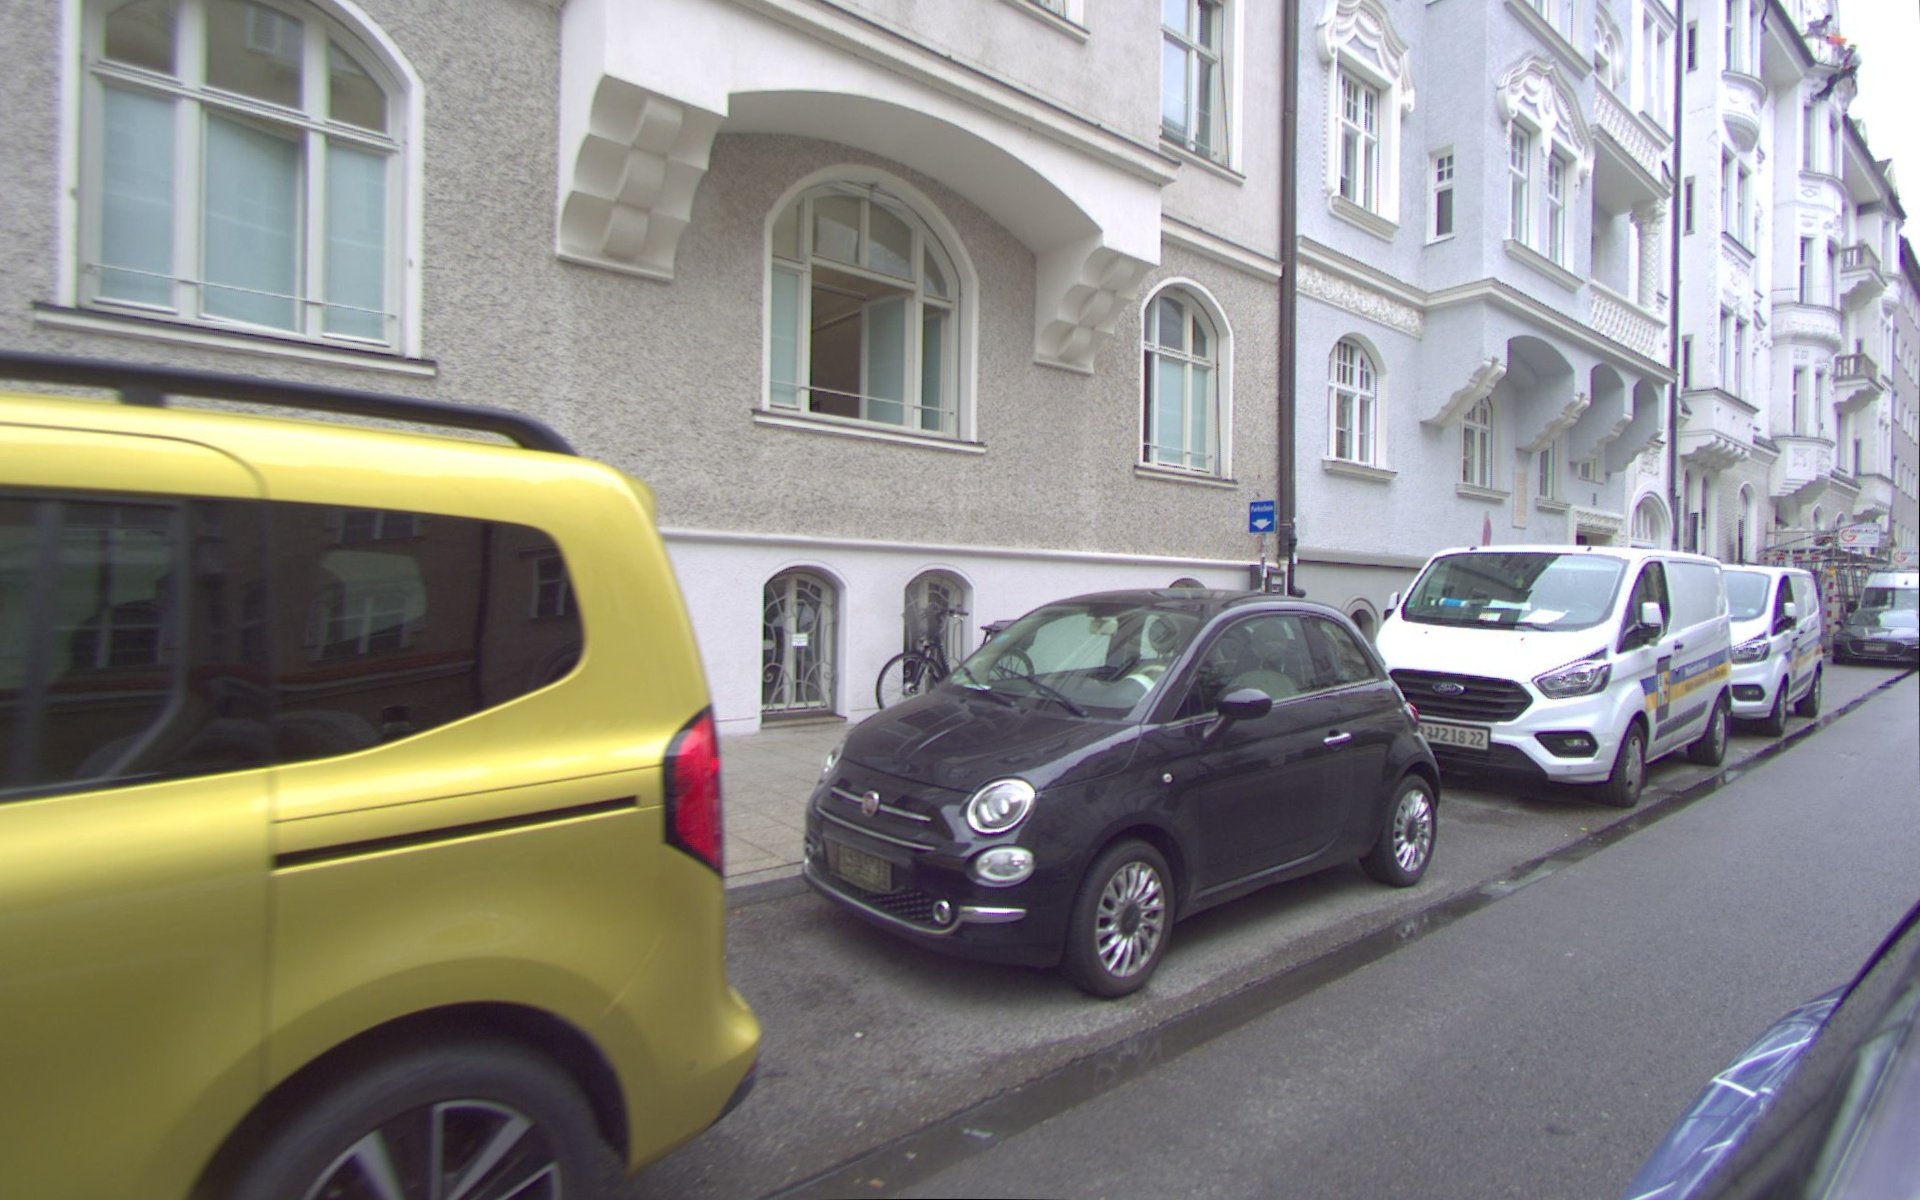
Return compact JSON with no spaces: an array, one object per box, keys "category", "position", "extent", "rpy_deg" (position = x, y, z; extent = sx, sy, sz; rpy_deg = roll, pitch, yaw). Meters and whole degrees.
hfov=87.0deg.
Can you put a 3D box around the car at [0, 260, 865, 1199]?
[{"category":"car","position":[-2.644,0.443,1.579],"extent":[4.733,1.876,1.855],"rpy_deg":[0,0,-39]}]

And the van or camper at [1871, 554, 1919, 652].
[{"category":"van or camper","position":[28.045,0.070,29.260],"extent":[5.364,2.670,1.957],"rpy_deg":[0,1,-42]}]

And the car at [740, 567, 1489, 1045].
[{"category":"car","position":[0.976,0.628,5.013],"extent":[3.716,1.503,1.635],"rpy_deg":[0,1,-40]}]

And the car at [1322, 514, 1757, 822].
[{"category":"car","position":[5.277,0.411,8.853],"extent":[4.909,1.961,1.961],"rpy_deg":[0,1,-43]}]

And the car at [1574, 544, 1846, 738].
[{"category":"car","position":[9.771,0.410,13.011],"extent":[4.909,2.039,1.961],"rpy_deg":[0,1,-43]}]

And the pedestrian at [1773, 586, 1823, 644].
[{"category":"pedestrian","position":[24.009,0.415,29.003],"extent":[0.999,1.573,0.922],"rpy_deg":[-2,4,-42]}]

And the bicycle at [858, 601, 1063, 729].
[{"category":"bicycle","position":[0.039,0.578,9.868],"extent":[2.001,1.107,0.696],"rpy_deg":[0,2,-41]}]

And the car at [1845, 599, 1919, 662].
[{"category":"car","position":[23.650,0.713,25.383],"extent":[4.018,1.452,1.756],"rpy_deg":[0,1,-43]}]
